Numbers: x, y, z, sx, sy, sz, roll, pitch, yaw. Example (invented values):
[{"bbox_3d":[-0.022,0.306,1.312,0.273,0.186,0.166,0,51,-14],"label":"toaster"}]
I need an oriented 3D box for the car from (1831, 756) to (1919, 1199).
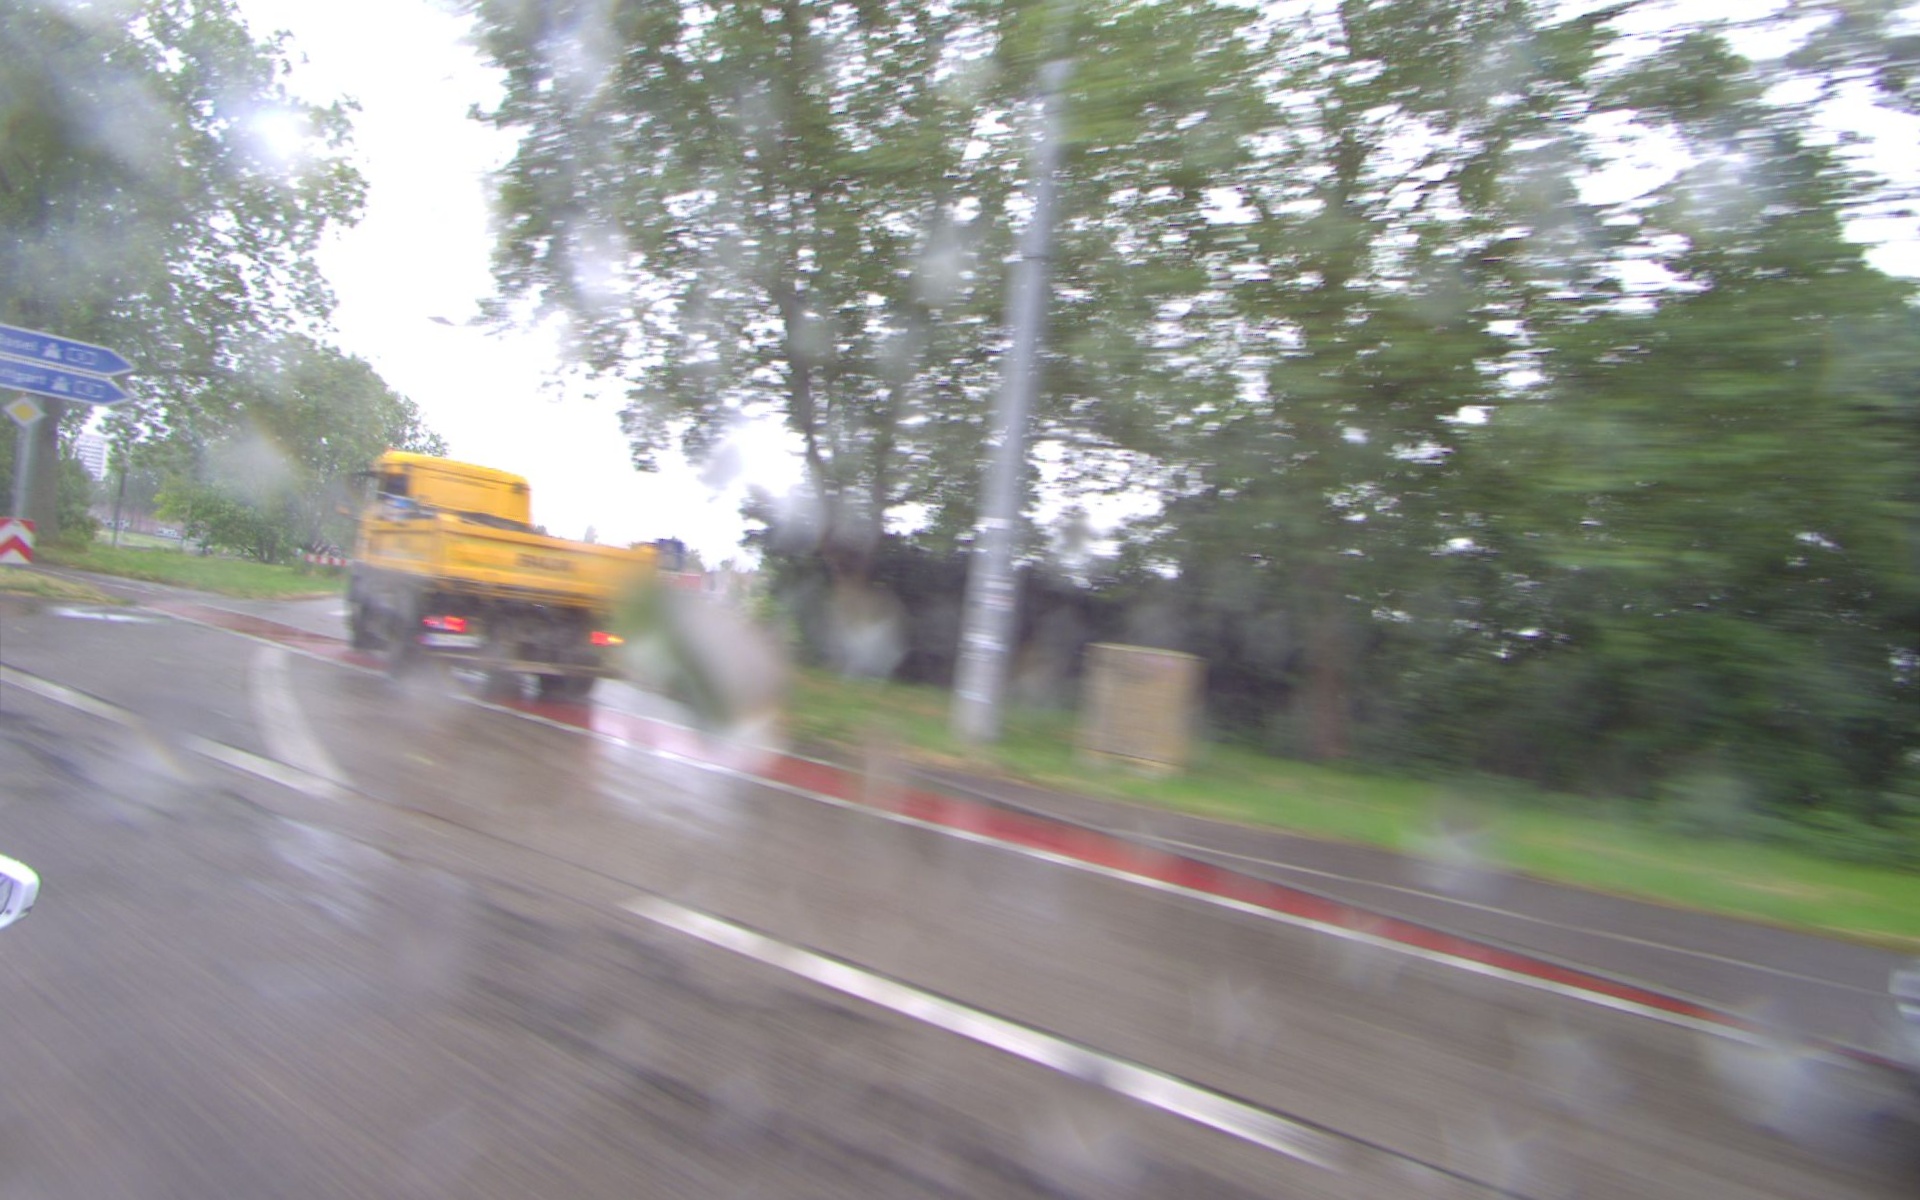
[{"bbox_3d":[5.459,1.621,2.594,4.532,1.520,1.629,8,-1,34],"label":"car"}]

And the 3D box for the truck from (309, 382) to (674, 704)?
[{"bbox_3d":[-6.911,-0.786,14.164,2.548,3.295,6.853,9,-1,-41],"label":"truck"}]
